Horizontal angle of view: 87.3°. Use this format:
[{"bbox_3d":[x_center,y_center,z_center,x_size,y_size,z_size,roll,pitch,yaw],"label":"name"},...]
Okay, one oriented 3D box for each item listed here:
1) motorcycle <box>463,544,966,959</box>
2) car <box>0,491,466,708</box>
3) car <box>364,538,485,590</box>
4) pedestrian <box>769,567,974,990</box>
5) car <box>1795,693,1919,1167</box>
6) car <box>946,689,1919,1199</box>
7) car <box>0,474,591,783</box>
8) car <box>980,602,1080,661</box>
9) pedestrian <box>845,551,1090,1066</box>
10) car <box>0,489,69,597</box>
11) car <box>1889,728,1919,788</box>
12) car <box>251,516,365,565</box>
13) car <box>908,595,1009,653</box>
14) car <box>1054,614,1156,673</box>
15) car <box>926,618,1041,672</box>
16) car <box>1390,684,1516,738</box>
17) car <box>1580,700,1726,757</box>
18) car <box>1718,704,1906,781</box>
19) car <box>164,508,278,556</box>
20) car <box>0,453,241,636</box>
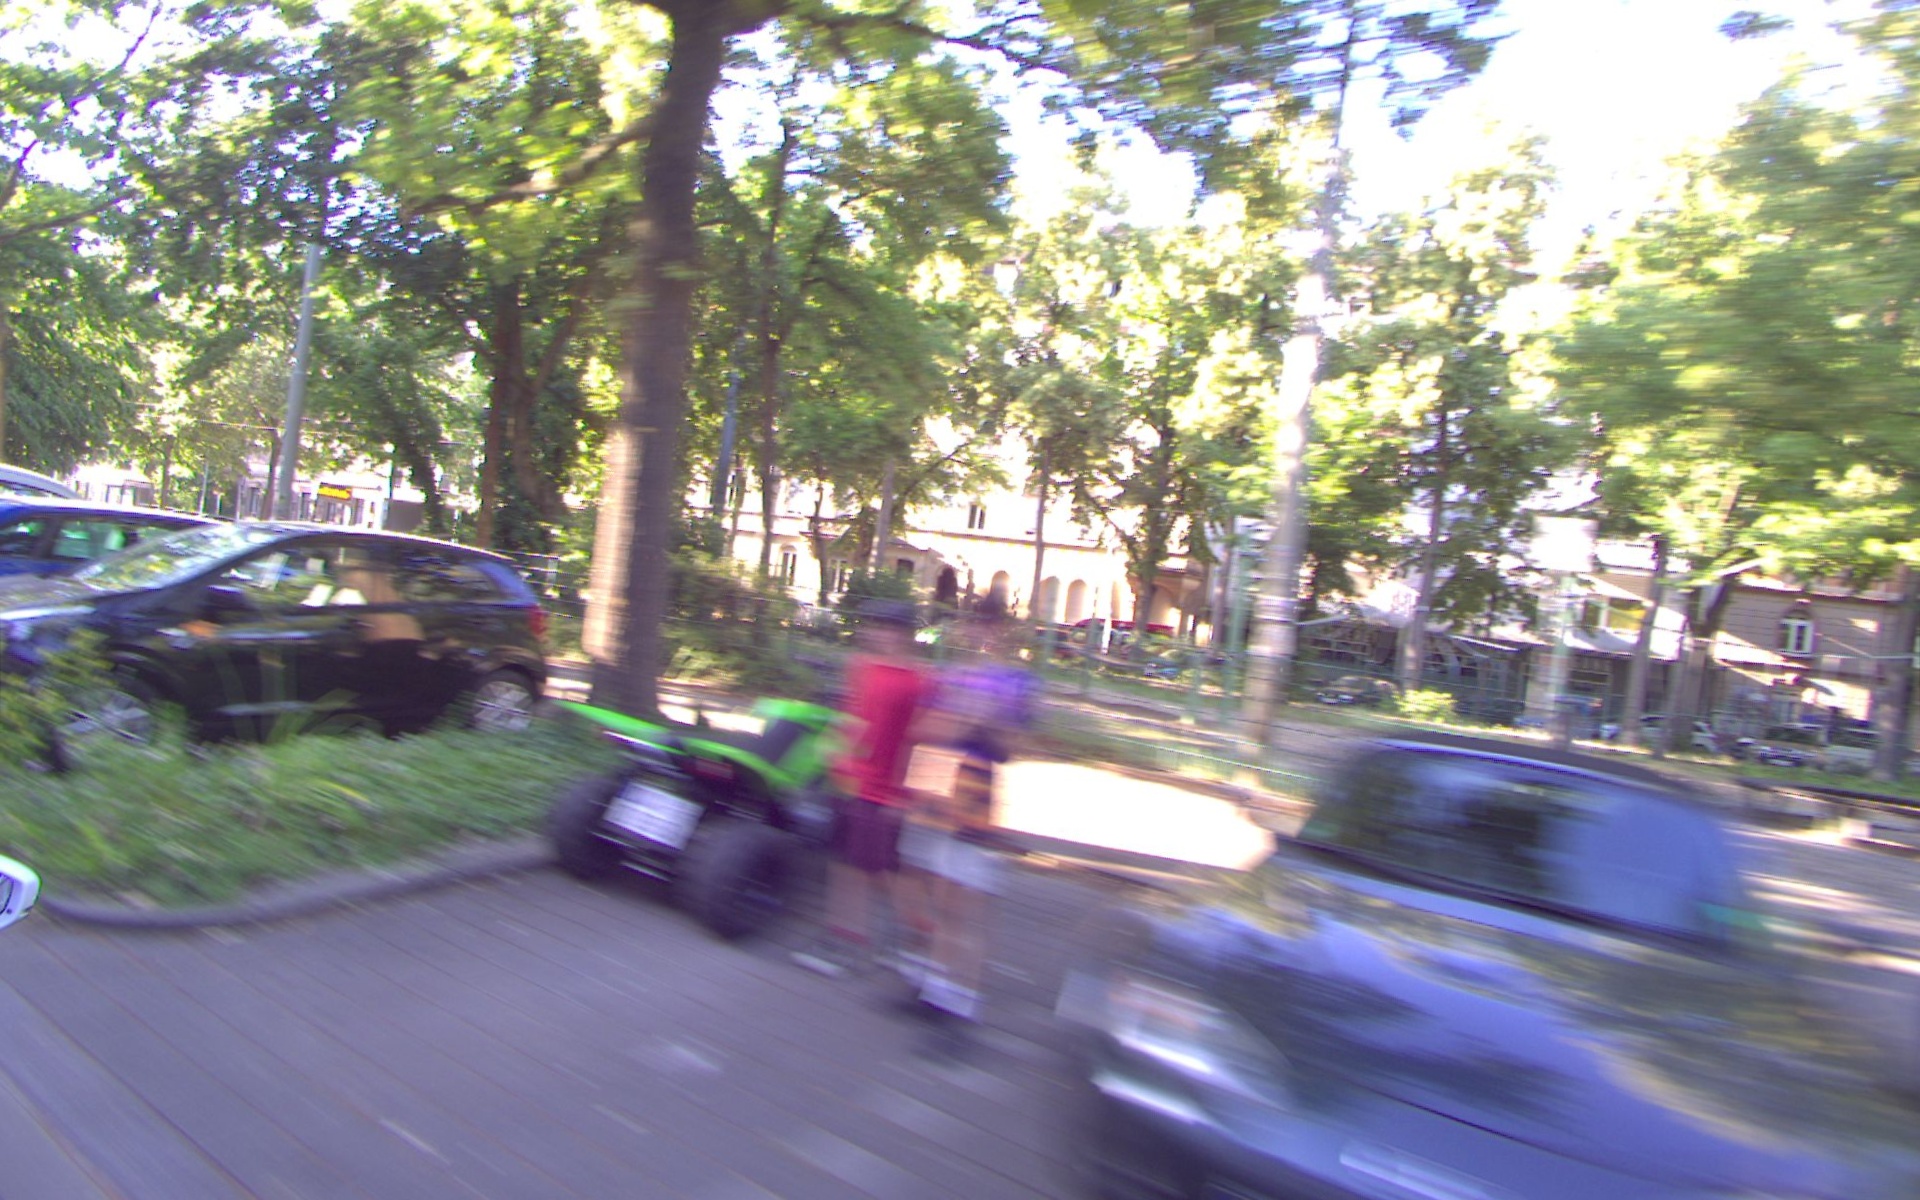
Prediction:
[{"bbox_3d":[-1.058,0.634,4.814,1.243,1.478,1.864,5,-3,33],"label":"motorcycle"},{"bbox_3d":[-6.565,-0.010,8.347,1.731,1.460,4.087,7,0,29],"label":"car"},{"bbox_3d":[-25.112,-1.646,47.241,4.674,1.702,1.982,9,-3,-35],"label":"car"},{"bbox_3d":[-0.362,0.674,4.001,0.378,1.535,0.513,8,2,-39],"label":"pedestrian"},{"bbox_3d":[3.839,1.177,2.354,1.805,1.610,4.409,6,-1,27],"label":"car"},{"bbox_3d":[1.687,1.057,3.274,1.662,1.294,3.848,7,-1,31],"label":"car"},{"bbox_3d":[-4.627,0.157,6.696,1.733,1.520,3.677,7,0,32],"label":"car"},{"bbox_3d":[2.670,1.200,37.432,1.967,1.702,3.996,5,-3,31],"label":"car"},{"bbox_3d":[0.014,0.671,3.471,0.378,1.604,0.513,8,2,-39],"label":"pedestrian"},{"bbox_3d":[-14.908,-0.989,13.417,1.623,1.471,4.219,7,0,36],"label":"car"},{"bbox_3d":[35.747,5.800,35.386,3.923,2.036,2.003,6,-2,11],"label":"car"},{"bbox_3d":[-33.279,-2.984,51.451,4.674,1.702,1.982,9,-3,-35],"label":"car"},{"bbox_3d":[-0.002,0.951,38.560,1.967,1.702,3.996,5,-3,31],"label":"car"},{"bbox_3d":[6.250,1.881,43.297,3.924,2.036,2.003,6,-3,17],"label":"car"},{"bbox_3d":[1.069,2.006,45.038,4.650,1.847,2.003,6,-3,18],"label":"car"},{"bbox_3d":[19.230,4.314,39.389,3.923,1.569,2.003,6,-3,11],"label":"car"},{"bbox_3d":[25.855,4.769,37.663,3.923,1.569,2.003,6,-3,11],"label":"car"},{"bbox_3d":[30.542,5.063,36.207,4.648,2.036,2.003,6,-2,11],"label":"car"},{"bbox_3d":[-39.121,-3.559,53.401,4.675,1.702,1.982,9,-3,-36],"label":"car"},{"bbox_3d":[-10.945,-0.700,11.313,1.733,1.887,4.223,7,0,32],"label":"car"}]
